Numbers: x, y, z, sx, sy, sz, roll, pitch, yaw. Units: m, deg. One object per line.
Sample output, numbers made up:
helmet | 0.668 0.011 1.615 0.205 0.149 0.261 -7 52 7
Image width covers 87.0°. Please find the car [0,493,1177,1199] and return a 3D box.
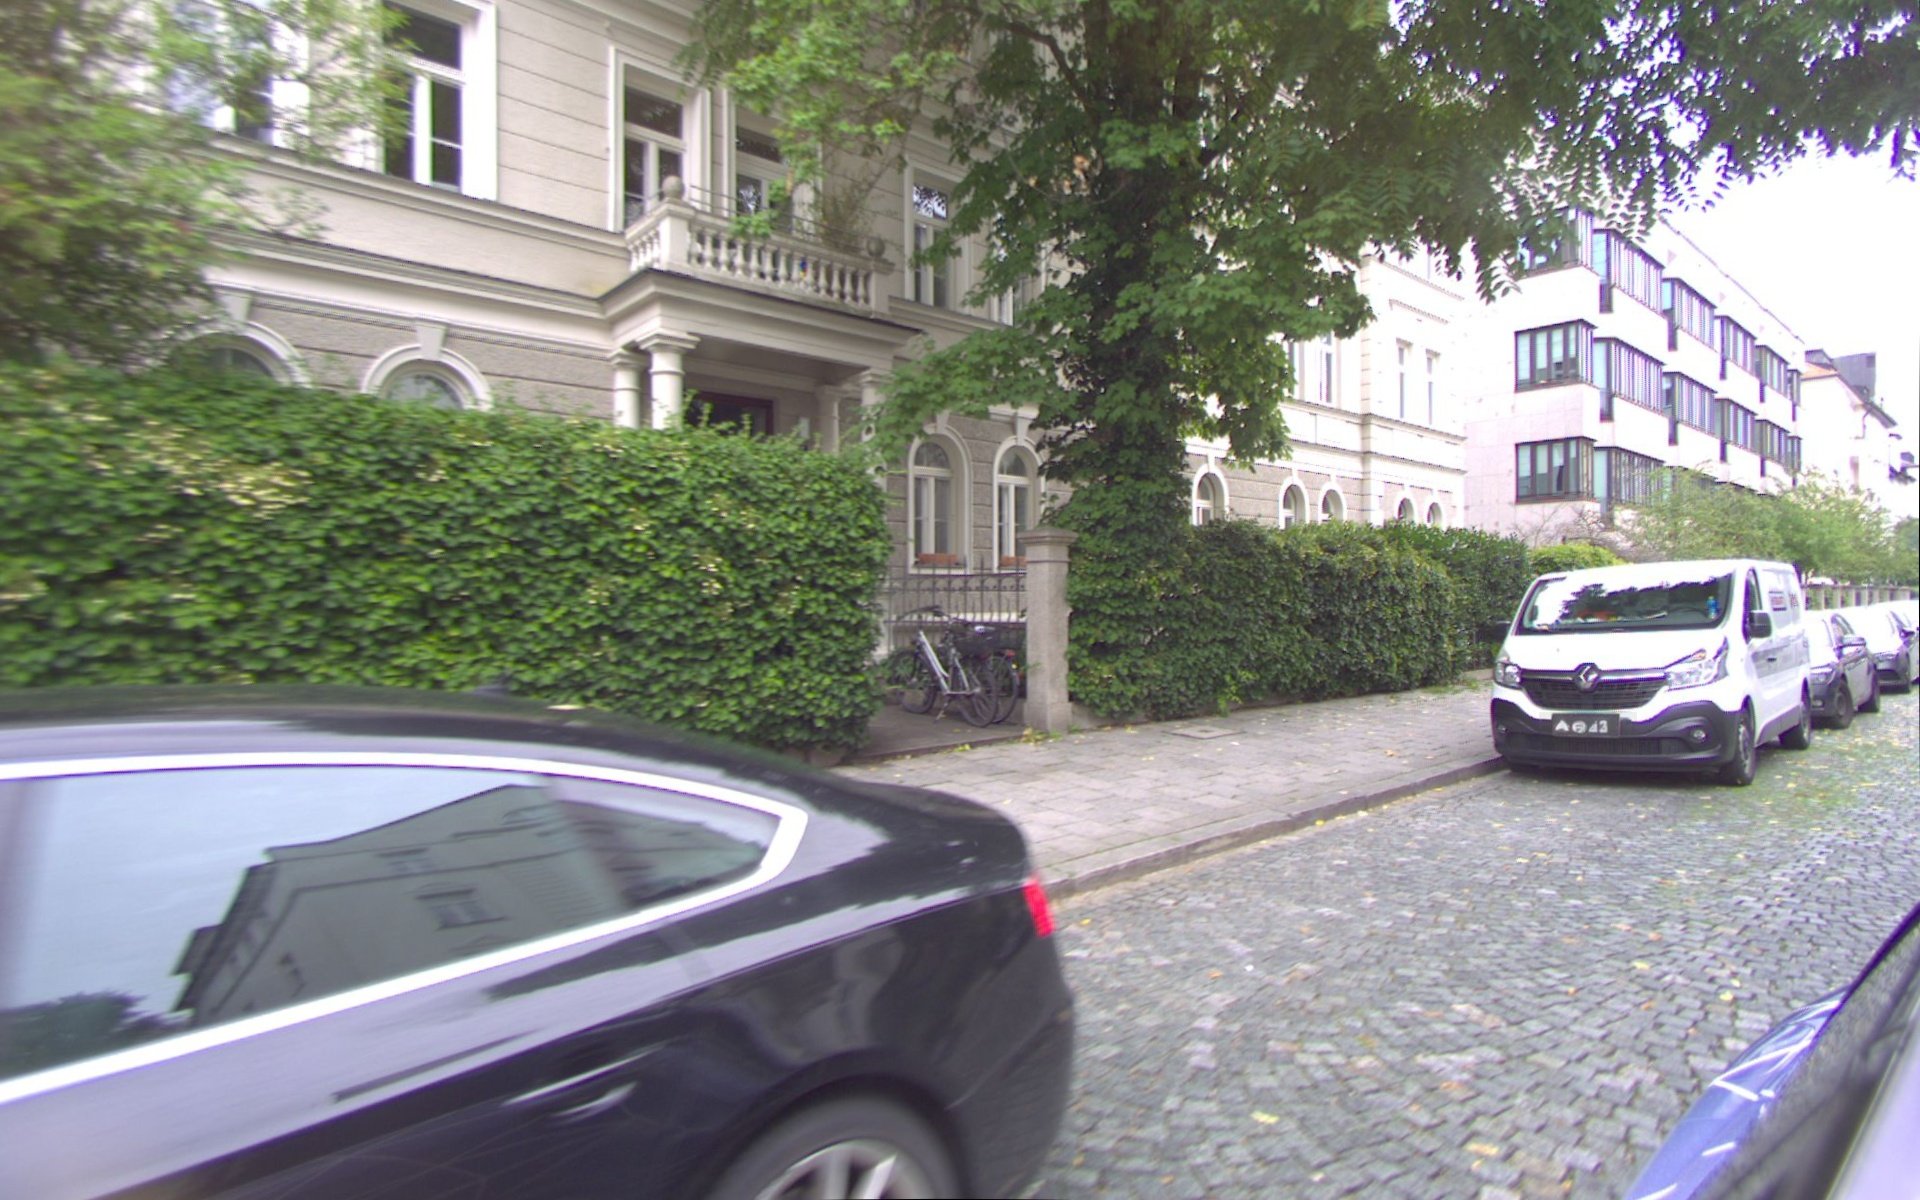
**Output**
car | -1.791 0.702 1.365 4.436 1.523 1.874 0 -3 -44

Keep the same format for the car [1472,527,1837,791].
car | 7.013 0.464 9.948 5.078 1.953 1.874 0 -3 -44

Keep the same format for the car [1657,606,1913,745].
car | 11.088 0.896 13.500 4.343 1.509 1.840 0 -2 -41

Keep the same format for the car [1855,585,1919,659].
car | 23.543 0.500 24.723 4.576 1.691 1.875 0 -2 -41

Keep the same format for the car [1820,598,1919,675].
car | 19.317 0.716 21.182 1.694 1.459 3.996 -4 -3 44

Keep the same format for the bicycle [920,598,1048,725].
bicycle | 0.226 0.598 10.512 0.402 1.166 1.432 0 2 -44

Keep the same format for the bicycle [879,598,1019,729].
bicycle | -0.140 0.599 10.247 0.497 1.166 1.494 0 2 -44

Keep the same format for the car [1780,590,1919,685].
car | 16.024 0.619 17.900 4.196 1.491 1.715 0 -3 -43

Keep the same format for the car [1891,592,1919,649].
car | 27.312 0.540 27.839 4.534 1.510 1.876 0 -3 -40

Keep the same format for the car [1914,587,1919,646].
car | 31.001 0.427 31.288 4.668 1.757 1.874 0 -3 -44
